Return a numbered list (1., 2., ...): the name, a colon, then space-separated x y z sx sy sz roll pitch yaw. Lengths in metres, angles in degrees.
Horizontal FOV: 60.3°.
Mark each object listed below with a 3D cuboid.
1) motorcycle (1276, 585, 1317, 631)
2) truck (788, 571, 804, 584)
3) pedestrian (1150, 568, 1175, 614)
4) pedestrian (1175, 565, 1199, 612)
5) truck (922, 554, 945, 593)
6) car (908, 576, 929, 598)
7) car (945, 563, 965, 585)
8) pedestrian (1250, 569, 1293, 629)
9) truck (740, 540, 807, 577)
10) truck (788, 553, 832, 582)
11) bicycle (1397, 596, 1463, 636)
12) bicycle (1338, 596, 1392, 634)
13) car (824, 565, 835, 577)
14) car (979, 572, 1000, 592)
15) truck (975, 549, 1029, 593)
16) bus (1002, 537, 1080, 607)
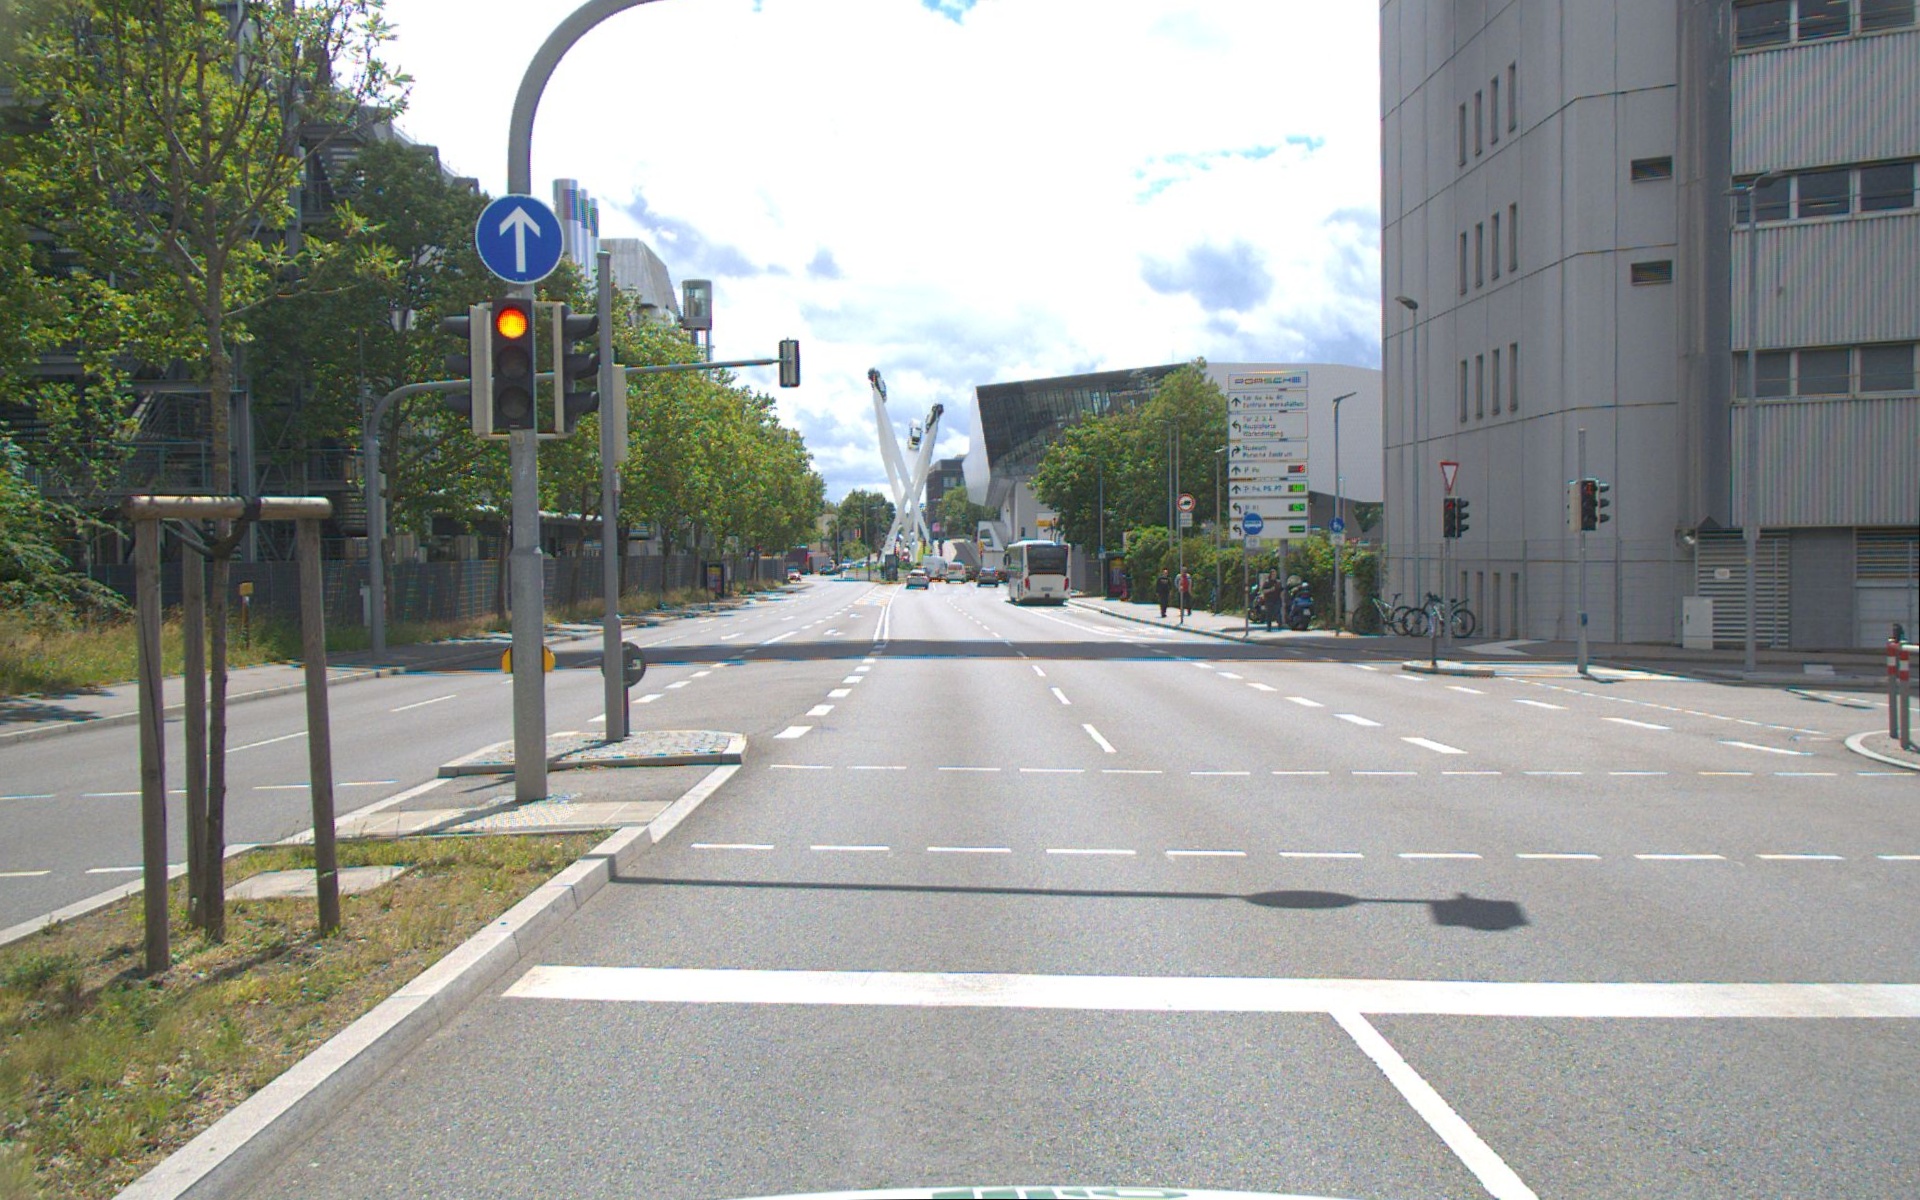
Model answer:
1. motorcycle: 9.527 0.202 46.926 0.692 1.224 2.024 -2 1 -1
2. truck: -20.174 -2.772 203.662 1.556 1.564 3.666 0 1 -13
3. pedestrian: 7.663 -0.352 62.670 0.803 1.737 0.881 0 0 -1
4. pedestrian: 8.568 -0.422 62.499 0.803 1.772 0.637 0 0 -1
5. truck: -2.785 -2.786 173.965 2.343 3.965 6.176 0 0 -1
6. car: -3.348 -1.067 134.287 1.703 1.772 3.691 0 0 -1
7. car: -0.495 -2.612 165.289 1.953 2.049 3.999 1 -1 -1
8. pedestrian: 8.811 -0.031 46.731 0.834 1.653 0.951 0 0 40
9. truck: -24.592 -5.384 219.292 3.490 4.400 12.166 1 -1 21
10. truck: -21.545 -4.631 237.800 2.433 3.962 7.061 0 -1 32
11. bicycle: 11.565 0.388 40.750 0.392 0.953 1.912 0 0 -26
12. bicycle: 10.529 0.387 43.021 0.391 0.953 1.917 0 0 -19
13. car: -18.087 -4.028 228.913 1.552 1.564 3.674 0 1 -5
14. car: 2.620 -1.564 146.133 1.703 1.772 3.691 0 0 -1
15. truck: 4.450 -3.033 173.373 3.379 4.468 9.426 0 0 16
16. bus: 4.298 -1.503 90.362 3.383 3.605 10.602 0 1 -2
